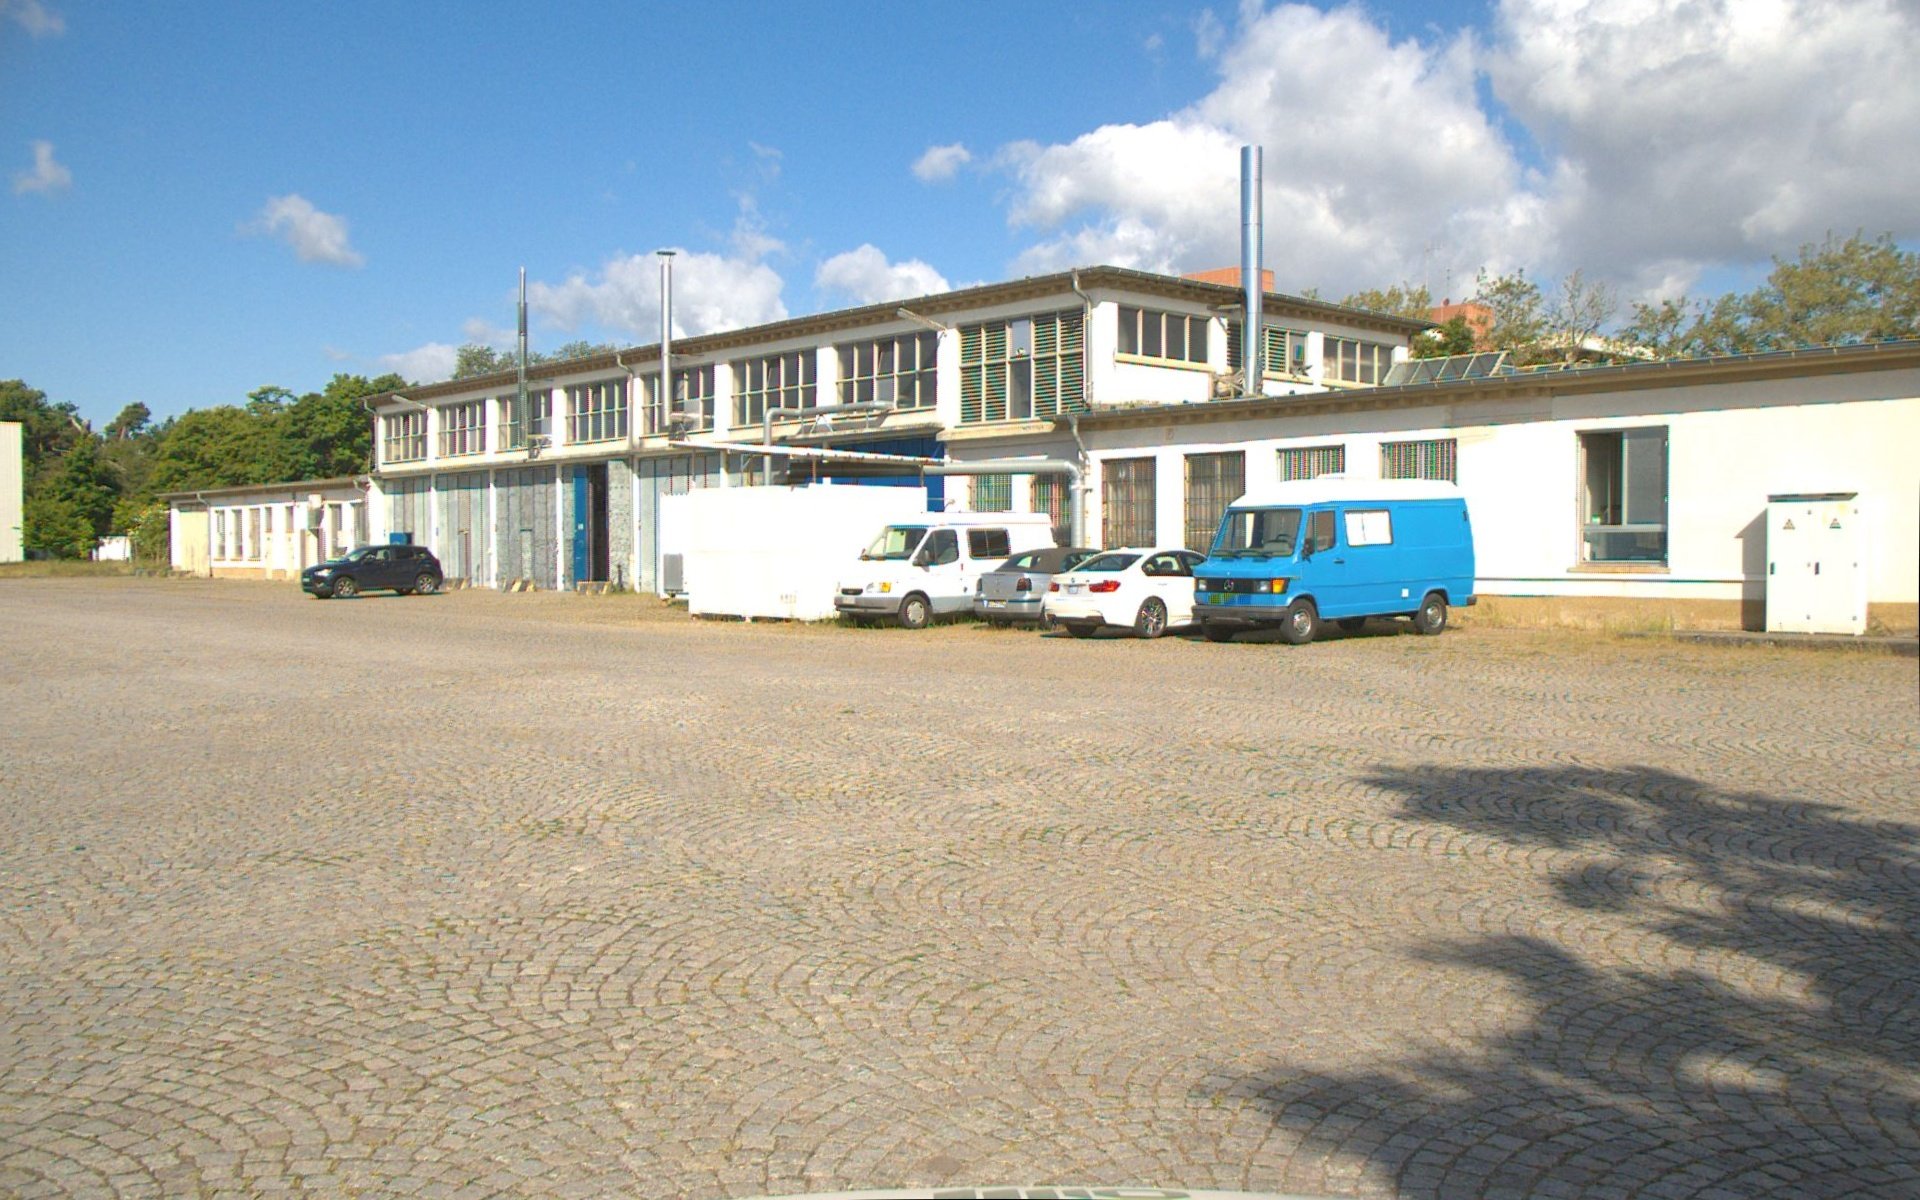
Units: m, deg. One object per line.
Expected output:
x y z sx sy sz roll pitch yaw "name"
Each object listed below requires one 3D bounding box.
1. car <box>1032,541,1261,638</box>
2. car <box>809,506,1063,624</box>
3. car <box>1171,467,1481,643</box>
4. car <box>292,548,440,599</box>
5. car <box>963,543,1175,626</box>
3.147 -0.213 27.522 3.704 1.430 1.713 -3 3 -40 "car"
-0.402 -0.691 31.941 4.759 2.117 1.982 -2 2 -40 "car"
5.889 -0.774 26.240 5.189 2.526 2.060 -3 3 -39 "car"
-18.669 -0.856 52.060 4.046 1.495 1.713 -3 3 -44 "car"
2.028 -0.335 30.248 3.795 1.422 1.668 -2 3 -40 "car"
